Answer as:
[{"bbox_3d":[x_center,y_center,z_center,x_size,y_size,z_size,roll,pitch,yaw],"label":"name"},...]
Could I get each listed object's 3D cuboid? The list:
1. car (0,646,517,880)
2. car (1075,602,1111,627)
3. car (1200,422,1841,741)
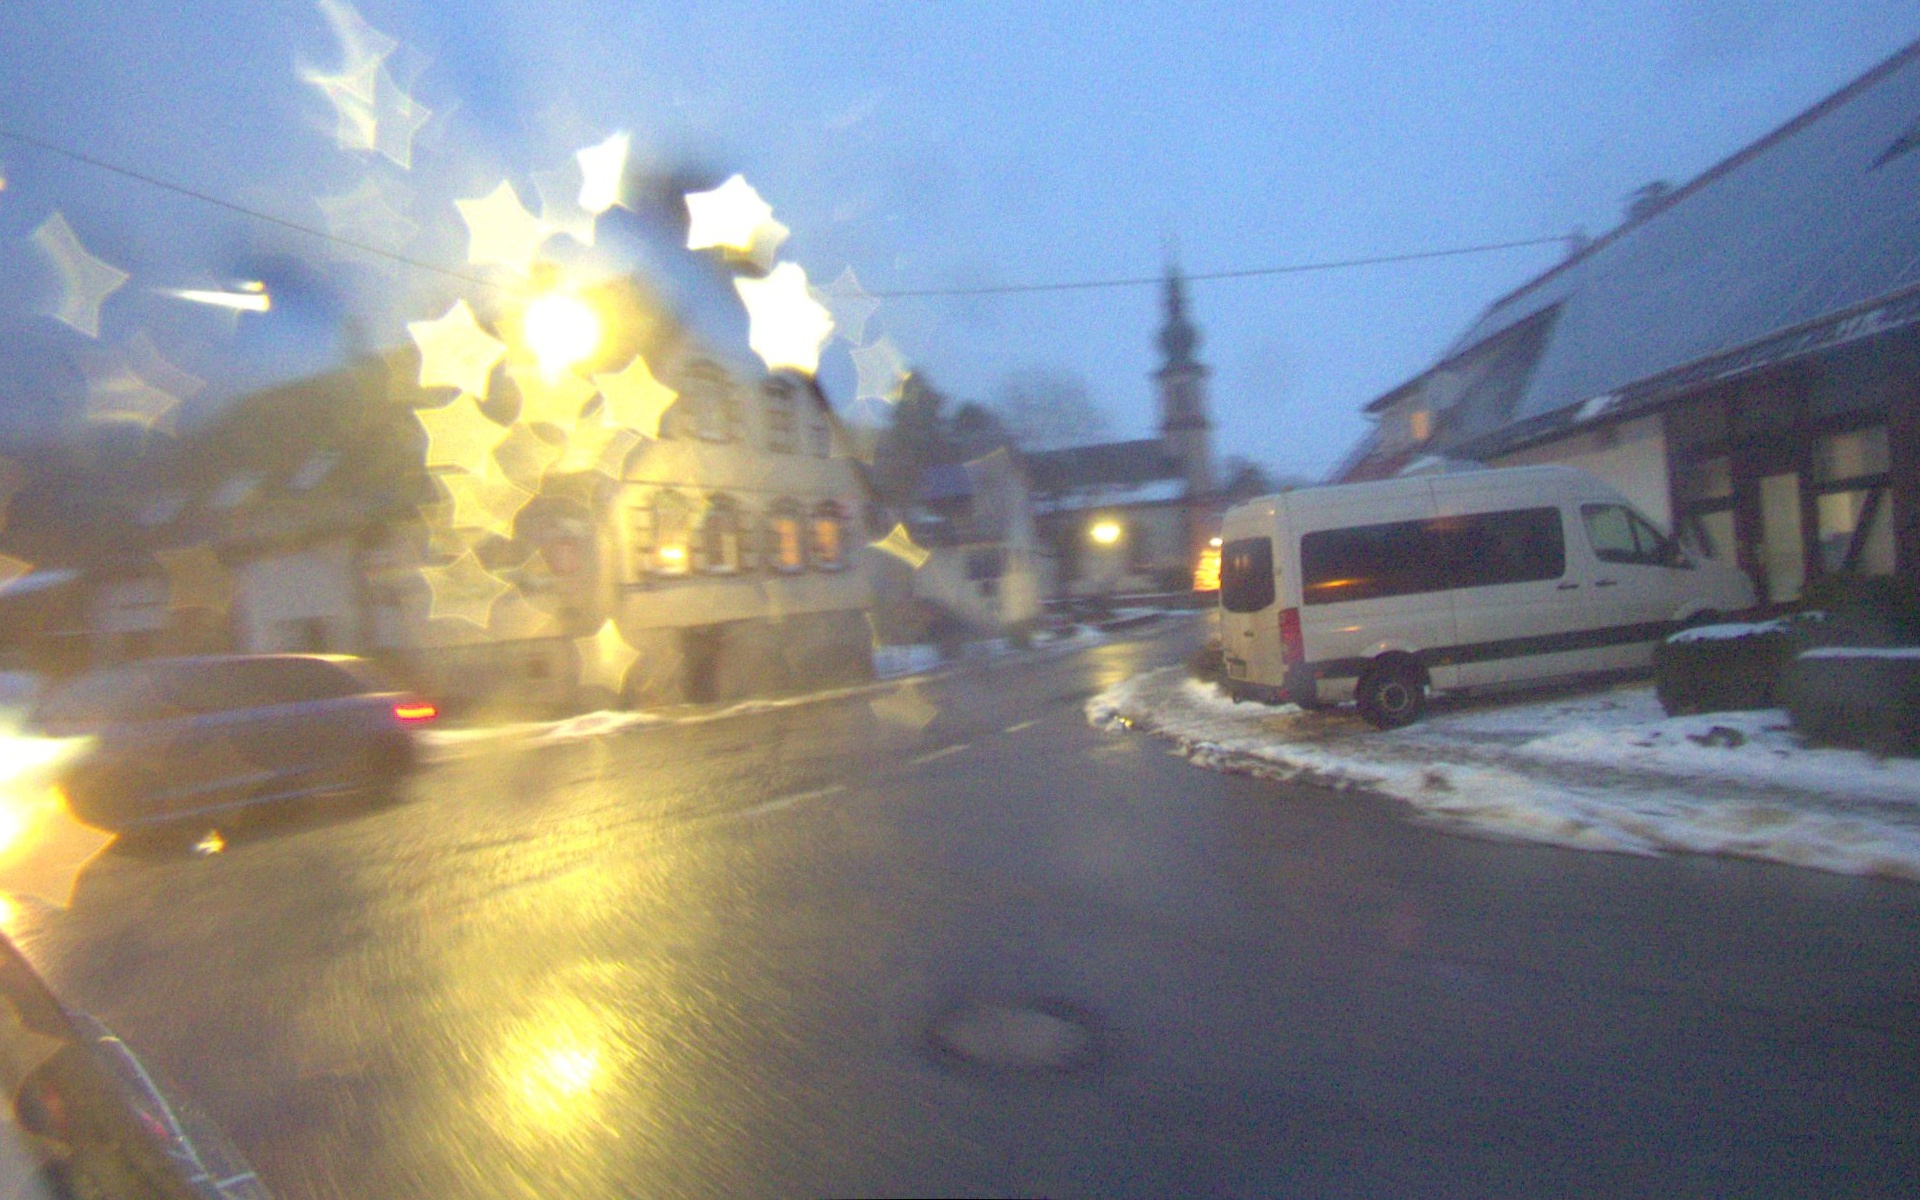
[{"bbox_3d":[-6.274,1.138,8.358,1.985,1.392,4.900,-3,-3,20],"label":"car"},{"bbox_3d":[9.489,1.015,72.455,1.730,1.423,4.085,-4,2,-3],"label":"car"},{"bbox_3d":[6.126,-0.227,11.504,6.026,2.571,2.002,-7,0,-4],"label":"car"}]
